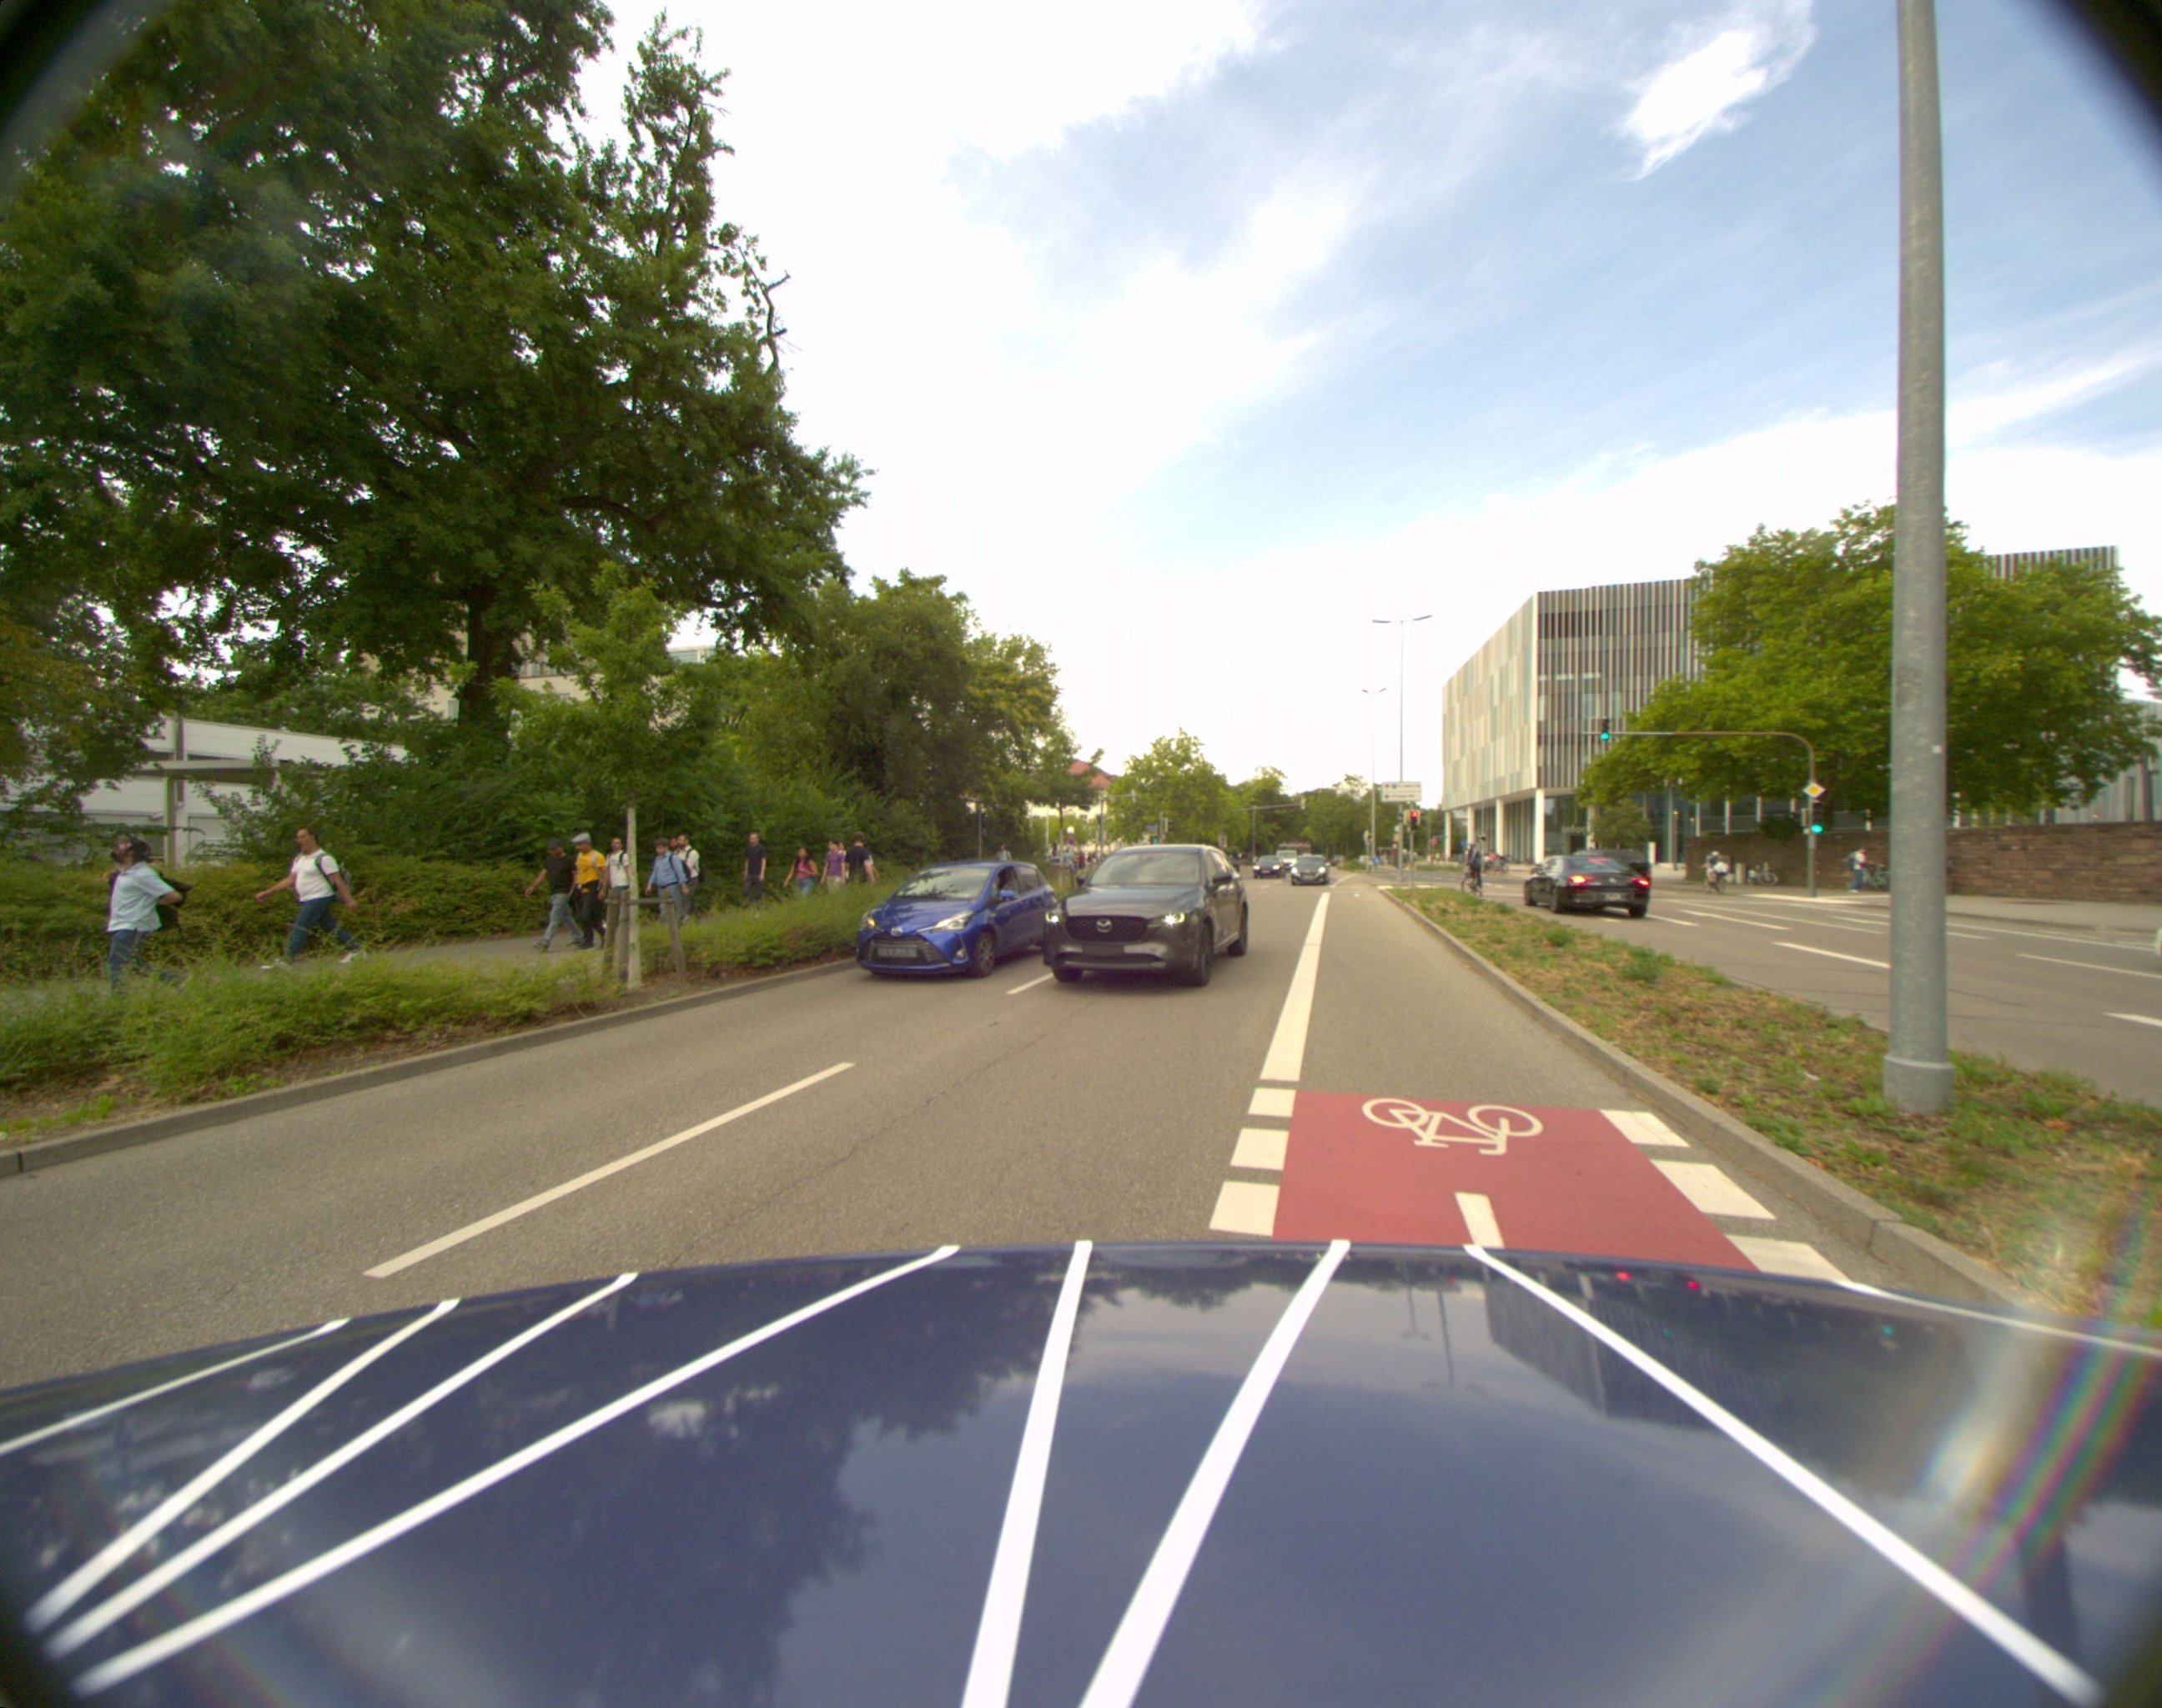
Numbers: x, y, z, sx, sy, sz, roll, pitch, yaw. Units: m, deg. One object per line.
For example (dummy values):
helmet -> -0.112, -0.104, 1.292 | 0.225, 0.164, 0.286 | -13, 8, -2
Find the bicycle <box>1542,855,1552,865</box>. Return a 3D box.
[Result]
bicycle -> 47.286, 0.590, 77.026 | 1.601, 0.932, 0.393 | -2, 0, -42

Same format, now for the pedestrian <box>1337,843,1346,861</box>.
pedestrian -> 26.886, -0.176, 78.446 | 0.726, 1.843, 1.065 | 0, 1, 13

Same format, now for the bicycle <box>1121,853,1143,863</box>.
bicycle -> 5.890, 0.507, 87.882 | 2.469, 1.136, 0.718 | 0, 1, 16

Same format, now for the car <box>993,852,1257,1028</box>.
car -> 0.874, 0.834, 9.697 | 1.901, 1.639, 4.652 | -1, 0, 22

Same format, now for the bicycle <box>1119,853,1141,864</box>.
bicycle -> 5.613, 0.517, 87.043 | 2.469, 1.136, 0.718 | 0, 1, 16

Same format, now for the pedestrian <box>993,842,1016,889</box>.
pedestrian -> -2.942, 0.433, 29.388 | 0.645, 1.785, 0.741 | 0, 1, 16

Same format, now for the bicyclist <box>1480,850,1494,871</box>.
bicyclist -> 33.421, 0.520, 62.615 | 0.728, 1.663, 0.724 | -2, 1, 1

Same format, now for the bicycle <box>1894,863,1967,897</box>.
bicycle -> 28.925, 0.868, 25.921 | 0.549, 1.052, 1.982 | -3, 0, 12

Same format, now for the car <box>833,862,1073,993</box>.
car -> -1.612, 0.881, 10.972 | 1.700, 1.485, 3.838 | 0, 0, 21

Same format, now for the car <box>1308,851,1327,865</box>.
car -> 25.145, 0.415, 80.867 | 1.659, 1.455, 4.004 | -2, 0, 13

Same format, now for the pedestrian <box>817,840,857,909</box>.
pedestrian -> -6.234, 0.511, 19.448 | 0.657, 1.735, 0.781 | 0, 1, 16

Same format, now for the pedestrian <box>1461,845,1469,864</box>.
pedestrian -> 37.942, 0.049, 75.076 | 0.511, 1.826, 0.625 | 0, 0, 15

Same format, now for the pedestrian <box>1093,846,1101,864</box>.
pedestrian -> 1.757, 0.151, 84.522 | 0.687, 1.951, 0.601 | -2, 1, -24

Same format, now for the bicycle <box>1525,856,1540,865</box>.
bicycle -> 47.028, 0.658, 79.105 | 1.612, 0.932, 0.393 | -2, 0, -18

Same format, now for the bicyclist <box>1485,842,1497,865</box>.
bicyclist -> 32.860, -0.013, 60.907 | 0.601, 1.796, 0.562 | -2, 1, 1

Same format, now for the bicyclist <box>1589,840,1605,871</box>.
bicyclist -> 30.264, 0.073, 44.550 | 0.618, 1.772, 0.812 | 0, 1, 23

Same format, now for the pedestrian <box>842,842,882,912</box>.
pedestrian -> -5.550, 0.565, 19.291 | 0.657, 1.735, 0.781 | 0, 1, 16

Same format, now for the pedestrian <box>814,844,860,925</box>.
pedestrian -> -5.313, 0.648, 16.592 | 0.625, 1.735, 0.781 | 0, 1, 16

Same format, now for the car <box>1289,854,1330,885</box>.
car -> 11.559, 0.746, 38.298 | 1.658, 1.455, 4.006 | -2, 0, 20

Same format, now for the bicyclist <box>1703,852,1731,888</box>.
bicyclist -> 25.049, 0.613, 29.929 | 0.581, 1.411, 0.812 | 0, 1, 17

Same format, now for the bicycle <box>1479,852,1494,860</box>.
bicycle -> 52.843, 0.264, 99.021 | 1.580, 1.017, 0.390 | -2, 0, 10

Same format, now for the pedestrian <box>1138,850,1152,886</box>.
pedestrian -> 3.090, 0.666, 36.516 | 0.546, 1.677, 0.637 | 0, 1, 16

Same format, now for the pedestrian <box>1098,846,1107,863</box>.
pedestrian -> 2.416, 0.067, 84.876 | 0.687, 1.951, 0.601 | -2, 1, -24

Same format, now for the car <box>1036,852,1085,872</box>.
car -> -1.611, 0.628, 60.816 | 3.576, 1.483, 1.676 | 0, 1, 15

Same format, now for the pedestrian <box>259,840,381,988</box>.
pedestrian -> -9.398, 0.698, 9.404 | 0.722, 1.734, 0.813 | 0, 1, 19

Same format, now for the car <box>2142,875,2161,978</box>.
car -> 14.904, 1.016, 8.406 | 1.672, 1.381, 3.927 | 1, 1, 19

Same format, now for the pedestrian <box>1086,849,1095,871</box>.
pedestrian -> 0.774, 0.496, 62.667 | 0.646, 1.842, 0.829 | -1, 1, 4

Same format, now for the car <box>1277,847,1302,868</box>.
car -> 18.666, 0.285, 67.917 | 1.996, 1.761, 4.005 | 0, 0, 18

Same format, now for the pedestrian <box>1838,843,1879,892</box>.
pedestrian -> 28.868, 0.497, 28.223 | 0.747, 1.772, 0.782 | -1, 2, -16

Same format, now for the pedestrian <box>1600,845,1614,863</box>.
pedestrian -> 46.774, 0.015, 67.554 | 0.731, 1.591, 0.677 | -1, 1, -16

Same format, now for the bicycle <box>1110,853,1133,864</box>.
bicycle -> 4.485, 0.499, 84.006 | 2.469, 1.136, 0.718 | 0, 1, 16

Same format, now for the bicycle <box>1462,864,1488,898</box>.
bicycle -> 13.049, 0.871, 25.189 | 0.574, 1.049, 1.929 | 0, 0, 22

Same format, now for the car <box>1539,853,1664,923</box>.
car -> 12.535, 0.718, 18.578 | 1.803, 1.480, 4.413 | 0, 0, 25

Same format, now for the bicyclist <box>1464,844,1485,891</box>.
bicyclist -> 13.038, 0.440, 25.198 | 0.572, 1.565, 0.700 | 0, 1, 22

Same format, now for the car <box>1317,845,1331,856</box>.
car -> 41.980, -0.560, 131.416 | 1.821, 1.839, 4.004 | 0, 0, 12

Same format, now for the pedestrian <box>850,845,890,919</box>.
pedestrian -> -5.100, 0.656, 18.386 | 0.582, 1.735, 0.790 | 0, 1, 16

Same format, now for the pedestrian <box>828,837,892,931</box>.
pedestrian -> -4.450, 0.580, 15.293 | 0.889, 1.820, 0.934 | -1, 1, -44

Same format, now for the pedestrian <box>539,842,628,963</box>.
pedestrian -> -7.225, 0.672, 11.070 | 0.657, 1.680, 0.843 | 0, 1, 16

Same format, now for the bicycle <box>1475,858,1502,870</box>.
bicycle -> 33.556, 0.825, 62.616 | 1.821, 0.983, 0.729 | -2, 1, 1

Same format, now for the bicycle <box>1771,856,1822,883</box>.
bicycle -> 31.082, 0.662, 33.036 | 0.578, 1.119, 2.167 | -3, 0, 14

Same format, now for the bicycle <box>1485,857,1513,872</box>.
bicycle -> 32.622, 0.821, 59.299 | 1.894, 1.163, 0.607 | 0, 1, 0

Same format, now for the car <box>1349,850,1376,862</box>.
car -> 35.939, 0.285, 97.237 | 1.806, 1.480, 4.415 | 0, 0, 0

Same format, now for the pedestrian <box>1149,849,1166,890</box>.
pedestrian -> 3.251, 0.651, 32.444 | 0.602, 1.725, 0.655 | 0, 1, 16

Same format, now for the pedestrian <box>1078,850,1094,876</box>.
pedestrian -> 0.351, 0.618, 53.596 | 0.768, 1.794, 0.893 | -1, 1, 20

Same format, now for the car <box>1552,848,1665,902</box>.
car -> 18.386, 0.659, 26.737 | 1.804, 1.656, 4.304 | 2, 1, 14

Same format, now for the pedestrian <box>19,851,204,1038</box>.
pedestrian -> -8.877, 0.768, 6.982 | 0.776, 1.593, 0.813 | 0, 1, 19

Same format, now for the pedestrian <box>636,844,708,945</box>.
pedestrian -> -6.834, 0.650, 12.722 | 0.657, 1.639, 0.813 | 0, 1, 16

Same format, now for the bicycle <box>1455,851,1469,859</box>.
bicycle -> 55.921, 0.173, 111.489 | 1.701, 1.017, 0.435 | -2, 0, 10

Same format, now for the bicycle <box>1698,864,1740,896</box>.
bicycle -> 25.050, 1.008, 29.876 | 0.582, 1.164, 1.967 | 0, 1, 18

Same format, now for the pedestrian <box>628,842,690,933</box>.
pedestrian -> -8.050, 0.616, 14.521 | 0.657, 1.689, 0.781 | 0, 1, 16

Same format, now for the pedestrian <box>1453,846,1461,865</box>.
pedestrian -> 37.241, 0.159, 75.241 | 0.511, 1.826, 0.773 | 0, 0, 15

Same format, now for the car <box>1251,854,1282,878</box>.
car -> 12.256, 0.764, 50.407 | 1.659, 1.455, 4.003 | -2, 0, 9

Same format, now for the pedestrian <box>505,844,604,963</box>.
pedestrian -> -7.702, 0.692, 11.150 | 0.657, 1.657, 0.972 | 0, 1, 16

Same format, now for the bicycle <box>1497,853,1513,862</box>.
bicycle -> 49.705, 0.392, 89.123 | 1.544, 0.932, 0.394 | -2, 0, 10

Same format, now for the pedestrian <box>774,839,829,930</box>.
pedestrian -> -5.480, 0.587, 14.934 | 0.657, 1.735, 0.781 | 0, 1, 16

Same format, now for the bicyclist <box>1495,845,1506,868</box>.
bicyclist -> 32.680, 0.217, 59.206 | 0.601, 1.796, 0.562 | 0, 0, 0

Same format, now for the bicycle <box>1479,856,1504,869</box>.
bicycle -> 32.876, 0.675, 60.925 | 1.691, 0.983, 0.571 | 0, 1, 1

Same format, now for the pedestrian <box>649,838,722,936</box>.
pedestrian -> -7.380, 0.594, 14.221 | 0.657, 1.756, 0.959 | -3, 0, 16

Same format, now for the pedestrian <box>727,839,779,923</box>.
pedestrian -> -6.944, 0.547, 16.106 | 0.657, 1.735, 0.781 | 0, 1, 16
